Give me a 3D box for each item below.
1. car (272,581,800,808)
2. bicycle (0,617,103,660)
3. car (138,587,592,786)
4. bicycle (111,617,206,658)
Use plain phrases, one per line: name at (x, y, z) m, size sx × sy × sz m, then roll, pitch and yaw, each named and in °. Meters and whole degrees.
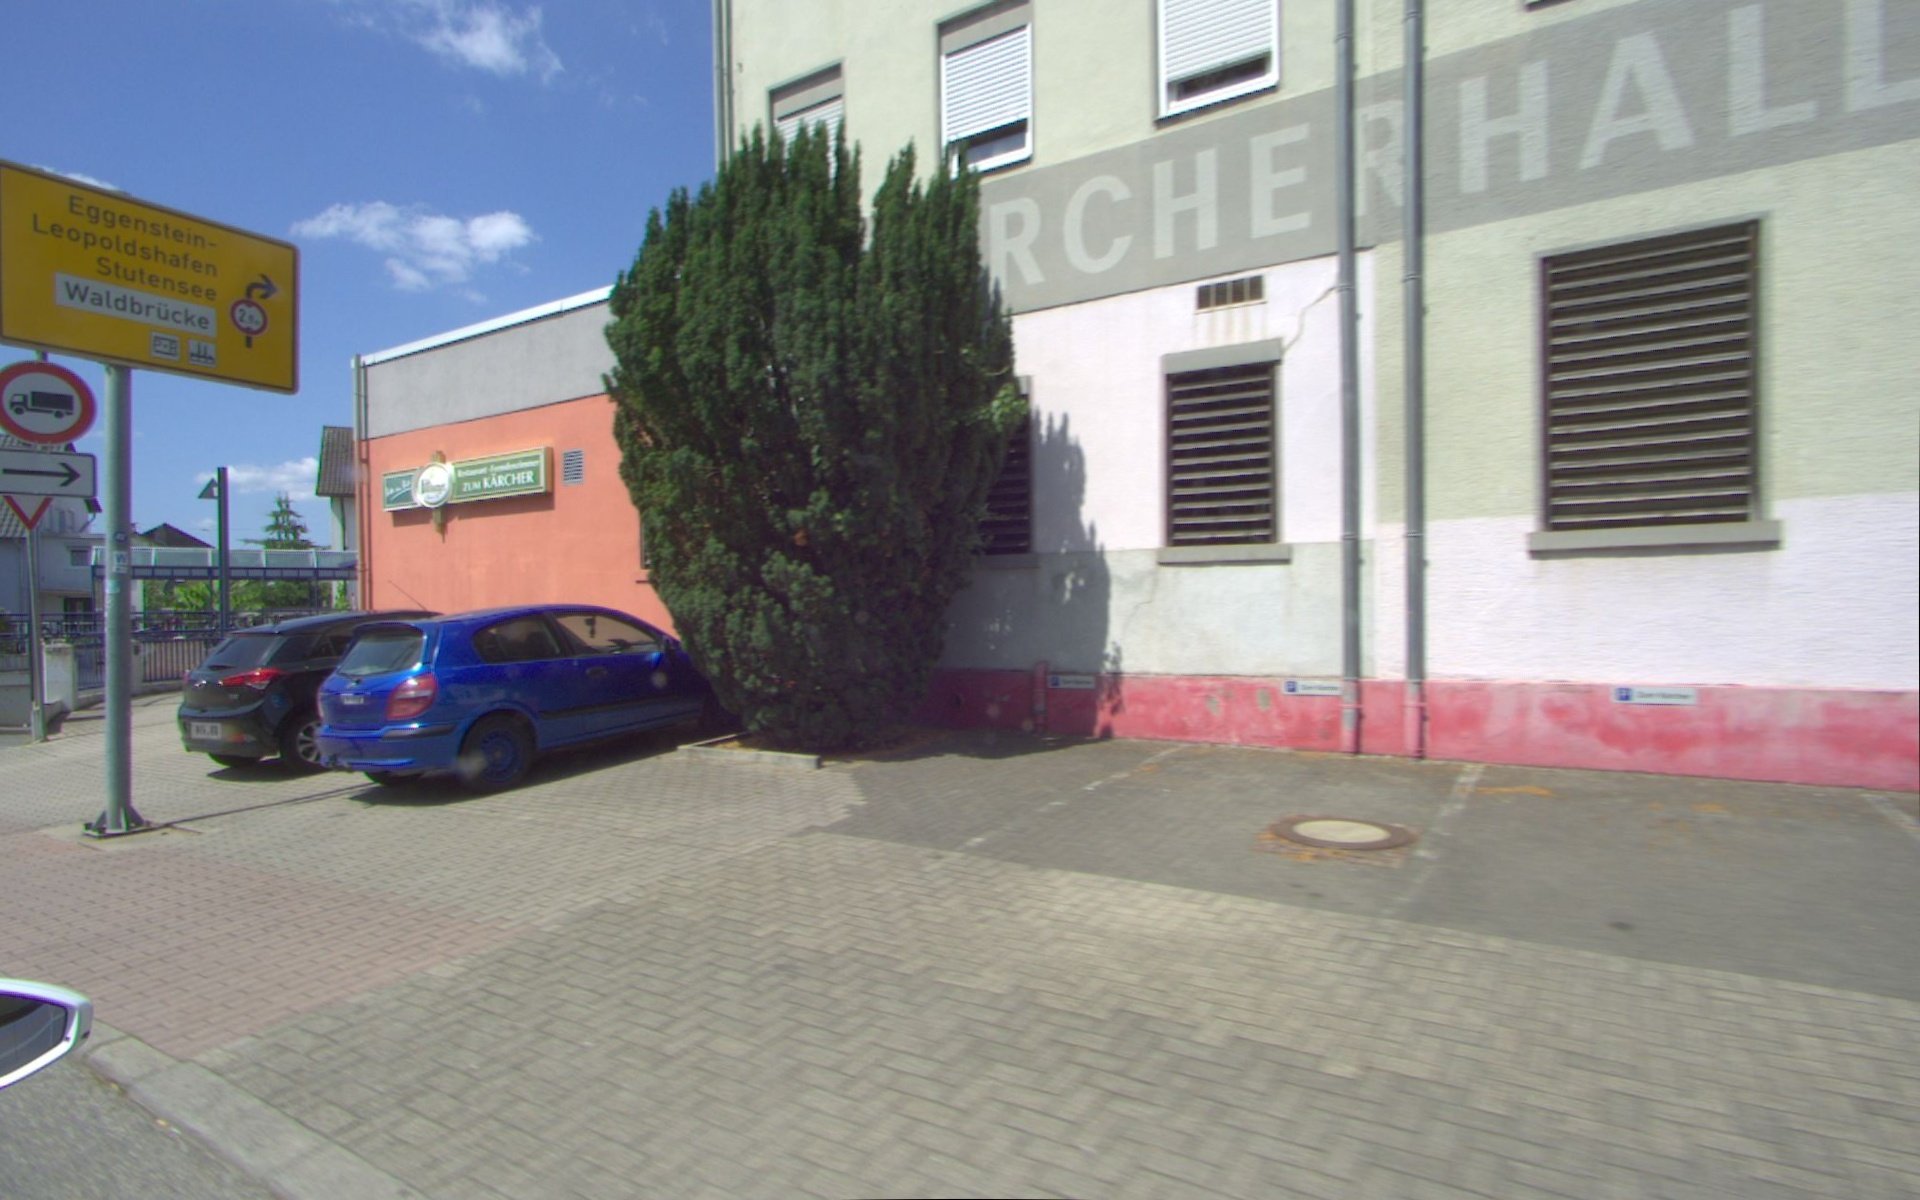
car at (-3.644, 0.697, 9.473) m, size 1.755 × 1.459 × 4.311 m, roll -4°, pitch 2°, yaw 31°
bicycle at (-24.647, 1.025, 27.169) m, size 2.096 × 1.140 × 0.330 m, roll 1°, pitch -1°, yaw -38°
car at (-6.369, 0.799, 11.202) m, size 1.784 × 1.511 × 3.884 m, roll -2°, pitch 4°, yaw 30°
bicycle at (-22.839, 1.051, 28.572) m, size 2.096 × 1.140 × 0.389 m, roll 1°, pitch -1°, yaw -38°
